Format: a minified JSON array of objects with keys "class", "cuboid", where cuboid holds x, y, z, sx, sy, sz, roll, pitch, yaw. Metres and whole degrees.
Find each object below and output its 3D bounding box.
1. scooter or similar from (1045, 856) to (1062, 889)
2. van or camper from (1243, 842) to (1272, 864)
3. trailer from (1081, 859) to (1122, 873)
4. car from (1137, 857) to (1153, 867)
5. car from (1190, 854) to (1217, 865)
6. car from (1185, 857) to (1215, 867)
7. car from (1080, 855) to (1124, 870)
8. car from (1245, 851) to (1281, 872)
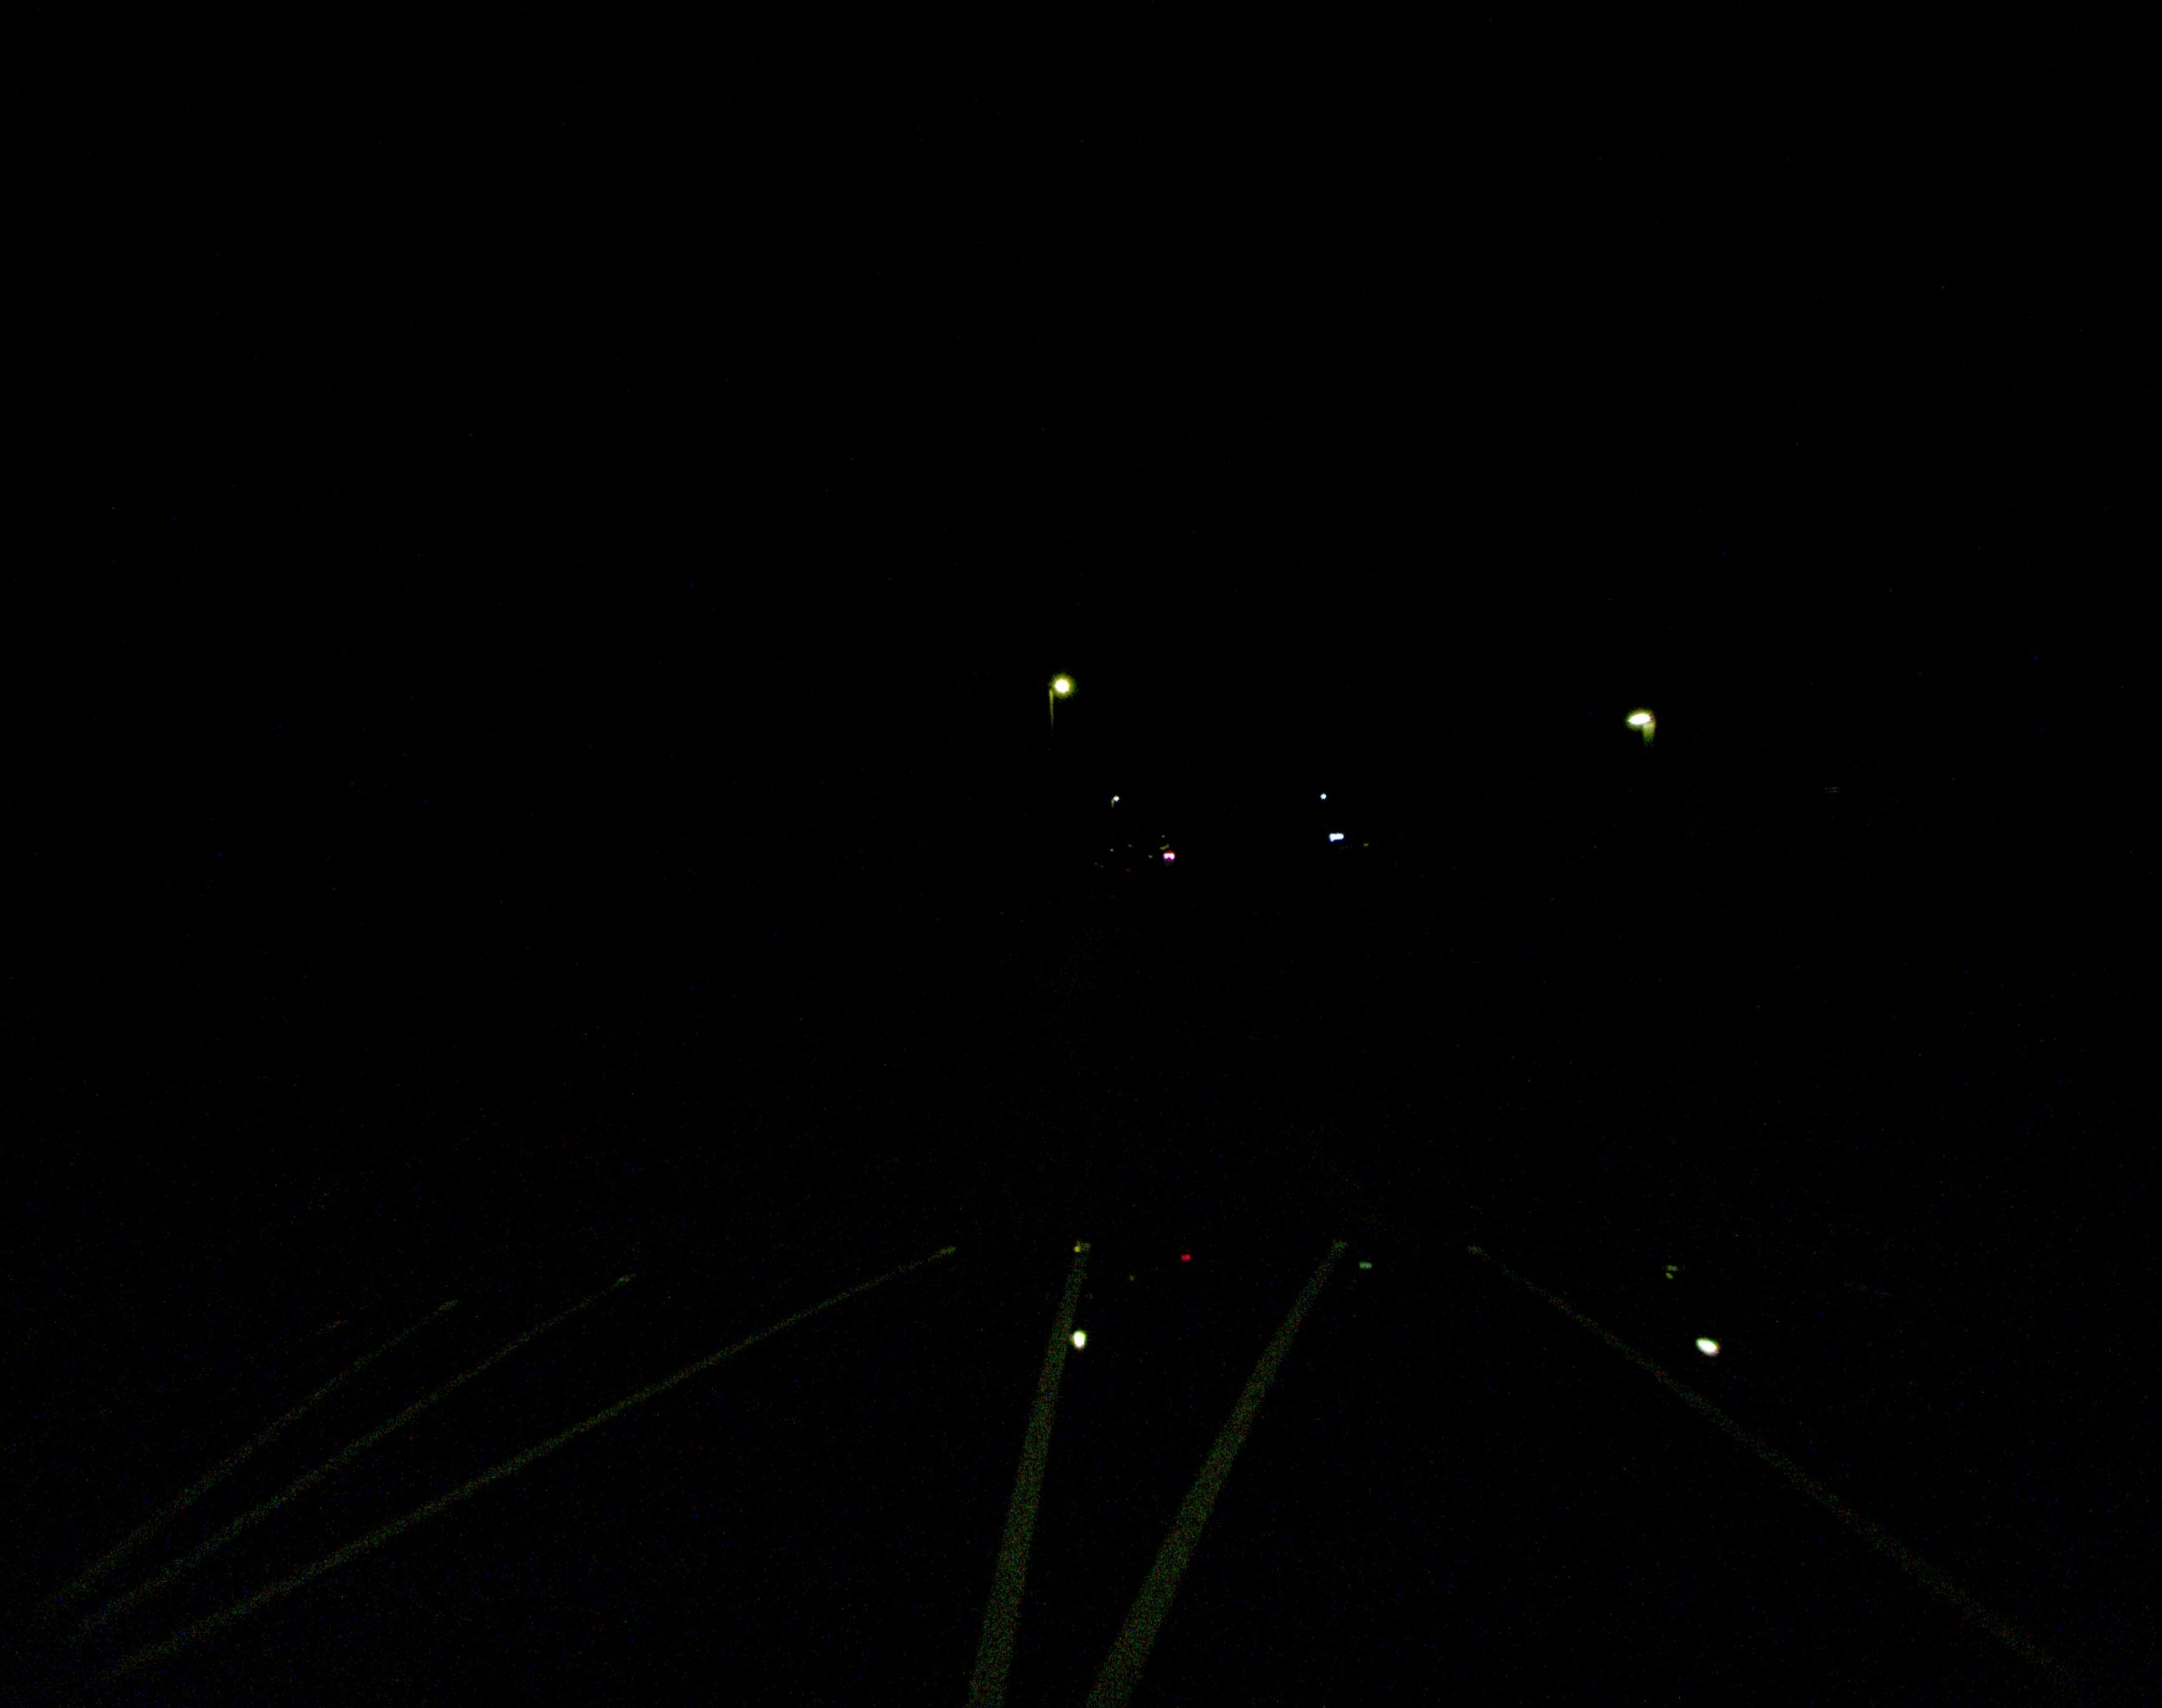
[{"class":"scooter or similar","cuboid":[-1.167,0.760,31.792,0.613,1.274,1.689,-1,1,-5]},{"class":"van or camper","cuboid":[23.271,-0.110,100.338,2.080,2.730,5.928,-1,-1,-4]},{"class":"trailer","cuboid":[1.760,1.028,66.183,3.442,0.996,1.954,-4,0,-4]},{"class":"car","cuboid":[9.931,1.263,118.475,1.754,1.460,4.008,-1,-1,-4]},{"class":"car","cuboid":[19.374,0.895,120.235,3.997,1.608,2.000,-1,-1,0]},{"class":"car","cuboid":[19.213,1.296,122.992,4.327,1.552,2.028,0,-1,-10]},{"class":"car","cuboid":[1.666,0.705,61.799,3.401,1.224,1.724,1,-1,-5]},{"class":"car","cuboid":[13.949,0.572,58.502,1.677,1.581,3.986,-1,0,-2]}]
